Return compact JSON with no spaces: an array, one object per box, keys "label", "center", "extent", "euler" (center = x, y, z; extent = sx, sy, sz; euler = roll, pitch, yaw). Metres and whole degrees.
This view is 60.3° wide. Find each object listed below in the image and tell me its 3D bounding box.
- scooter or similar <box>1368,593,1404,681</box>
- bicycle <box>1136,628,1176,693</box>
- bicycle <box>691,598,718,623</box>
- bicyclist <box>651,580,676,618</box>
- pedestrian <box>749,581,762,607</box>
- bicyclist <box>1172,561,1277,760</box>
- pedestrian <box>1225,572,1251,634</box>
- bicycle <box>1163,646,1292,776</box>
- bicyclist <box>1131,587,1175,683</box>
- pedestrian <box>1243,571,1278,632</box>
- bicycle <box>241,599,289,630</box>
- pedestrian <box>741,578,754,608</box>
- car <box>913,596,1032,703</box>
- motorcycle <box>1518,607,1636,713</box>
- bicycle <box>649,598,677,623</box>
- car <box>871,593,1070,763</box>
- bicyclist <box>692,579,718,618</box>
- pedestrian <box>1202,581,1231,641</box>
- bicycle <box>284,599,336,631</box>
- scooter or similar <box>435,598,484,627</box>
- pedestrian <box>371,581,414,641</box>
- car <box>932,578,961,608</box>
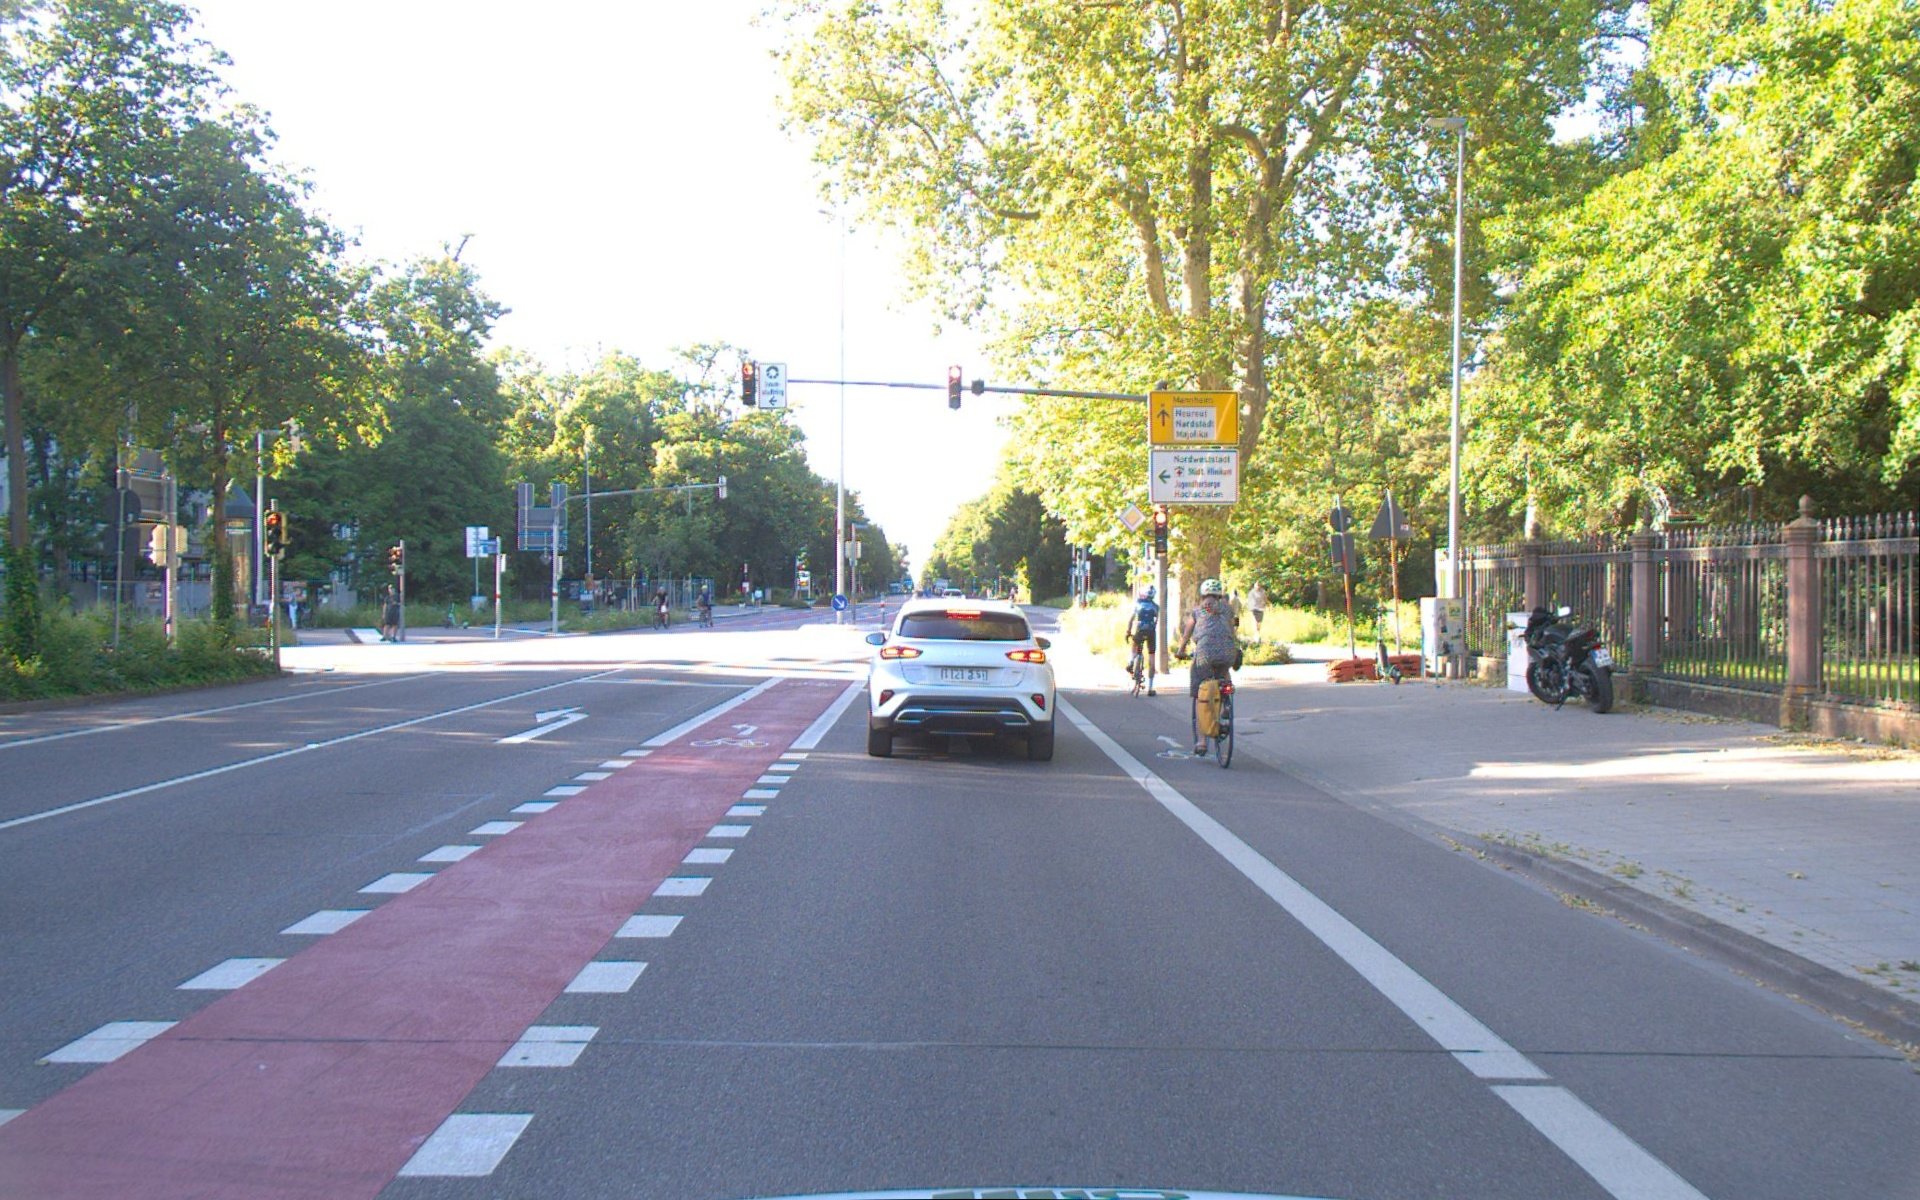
[{"label":"scooter or similar","center":[6.695,0.565,26.031],"extent":[0.223,1.350,1.172],"euler":[-1,0,-1]},{"label":"bicycle","center":[3.154,0.962,26.681],"extent":[0.393,0.973,1.550],"euler":[-3,0,-1]},{"label":"bicycle","center":[-10.927,0.442,70.832],"extent":[0.649,1.006,2.505],"euler":[-1,0,2]},{"label":"bicyclist","center":[-12.820,-0.053,71.529],"extent":[0.857,1.634,0.978],"euler":[-1,0,3]},{"label":"pedestrian","center":[-14.379,-0.393,116.493],"extent":[0.768,1.817,0.751],"euler":[1,0,0]},{"label":"bicyclist","center":[2.530,0.556,15.938],"extent":[0.738,1.827,1.165],"euler":[2,0,-1]},{"label":"pedestrian","center":[8.220,0.090,48.923],"extent":[0.604,1.802,0.646],"euler":[-1,0,-7]},{"label":"bicycle","center":[2.517,1.012,15.863],"extent":[0.742,1.031,2.569],"euler":[2,0,-1]},{"label":"bicyclist","center":[3.127,0.560,26.856],"extent":[0.543,1.504,0.716],"euler":[-3,0,-2]},{"label":"pedestrian","center":[8.937,0.046,49.264],"extent":[0.802,1.802,0.831],"euler":[-1,0,-7]},{"label":"bicycle","center":[-27.033,0.543,64.335],"extent":[1.822,1.168,0.443],"euler":[1,0,13]},{"label":"pedestrian","center":[-14.808,-0.492,115.349],"extent":[0.627,2.049,0.754],"euler":[1,0,10]},{"label":"car","center":[0.136,0.710,25.543],"extent":[1.693,1.509,3.516],"euler":[-1,0,-2]},{"label":"motorcycle","center":[7.181,0.670,19.350],"extent":[0.495,1.151,2.170],"euler":[-2,0,-1]},{"label":"bicycle","center":[-12.819,0.448,71.457],"extent":[0.567,1.006,2.716],"euler":[-1,0,3]},{"label":"car","center":[0.052,0.696,16.910],"extent":[1.784,1.506,3.935],"euler":[1,0,-1]},{"label":"bicyclist","center":[-10.928,-0.066,70.955],"extent":[0.857,1.636,1.188],"euler":[-1,0,2]},{"label":"pedestrian","center":[7.546,0.318,48.646],"extent":[0.676,1.729,0.643],"euler":[-1,0,-6]},{"label":"bicycle","center":[-25.183,0.581,64.119],"extent":[1.826,1.168,0.290],"euler":[1,0,-7]},{"label":"scooter or similar","center":[-20.078,0.520,66.381],"extent":[0.698,1.144,1.915],"euler":[1,0,32]},{"label":"pedestrian","center":[-19.674,0.383,57.393],"extent":[0.974,2.049,1.192],"euler":[1,0,5]},{"label":"car","center":[-0.955,-0.495,115.659],"extent":[1.953,2.049,4.000],"euler":[-1,0,0]}]
